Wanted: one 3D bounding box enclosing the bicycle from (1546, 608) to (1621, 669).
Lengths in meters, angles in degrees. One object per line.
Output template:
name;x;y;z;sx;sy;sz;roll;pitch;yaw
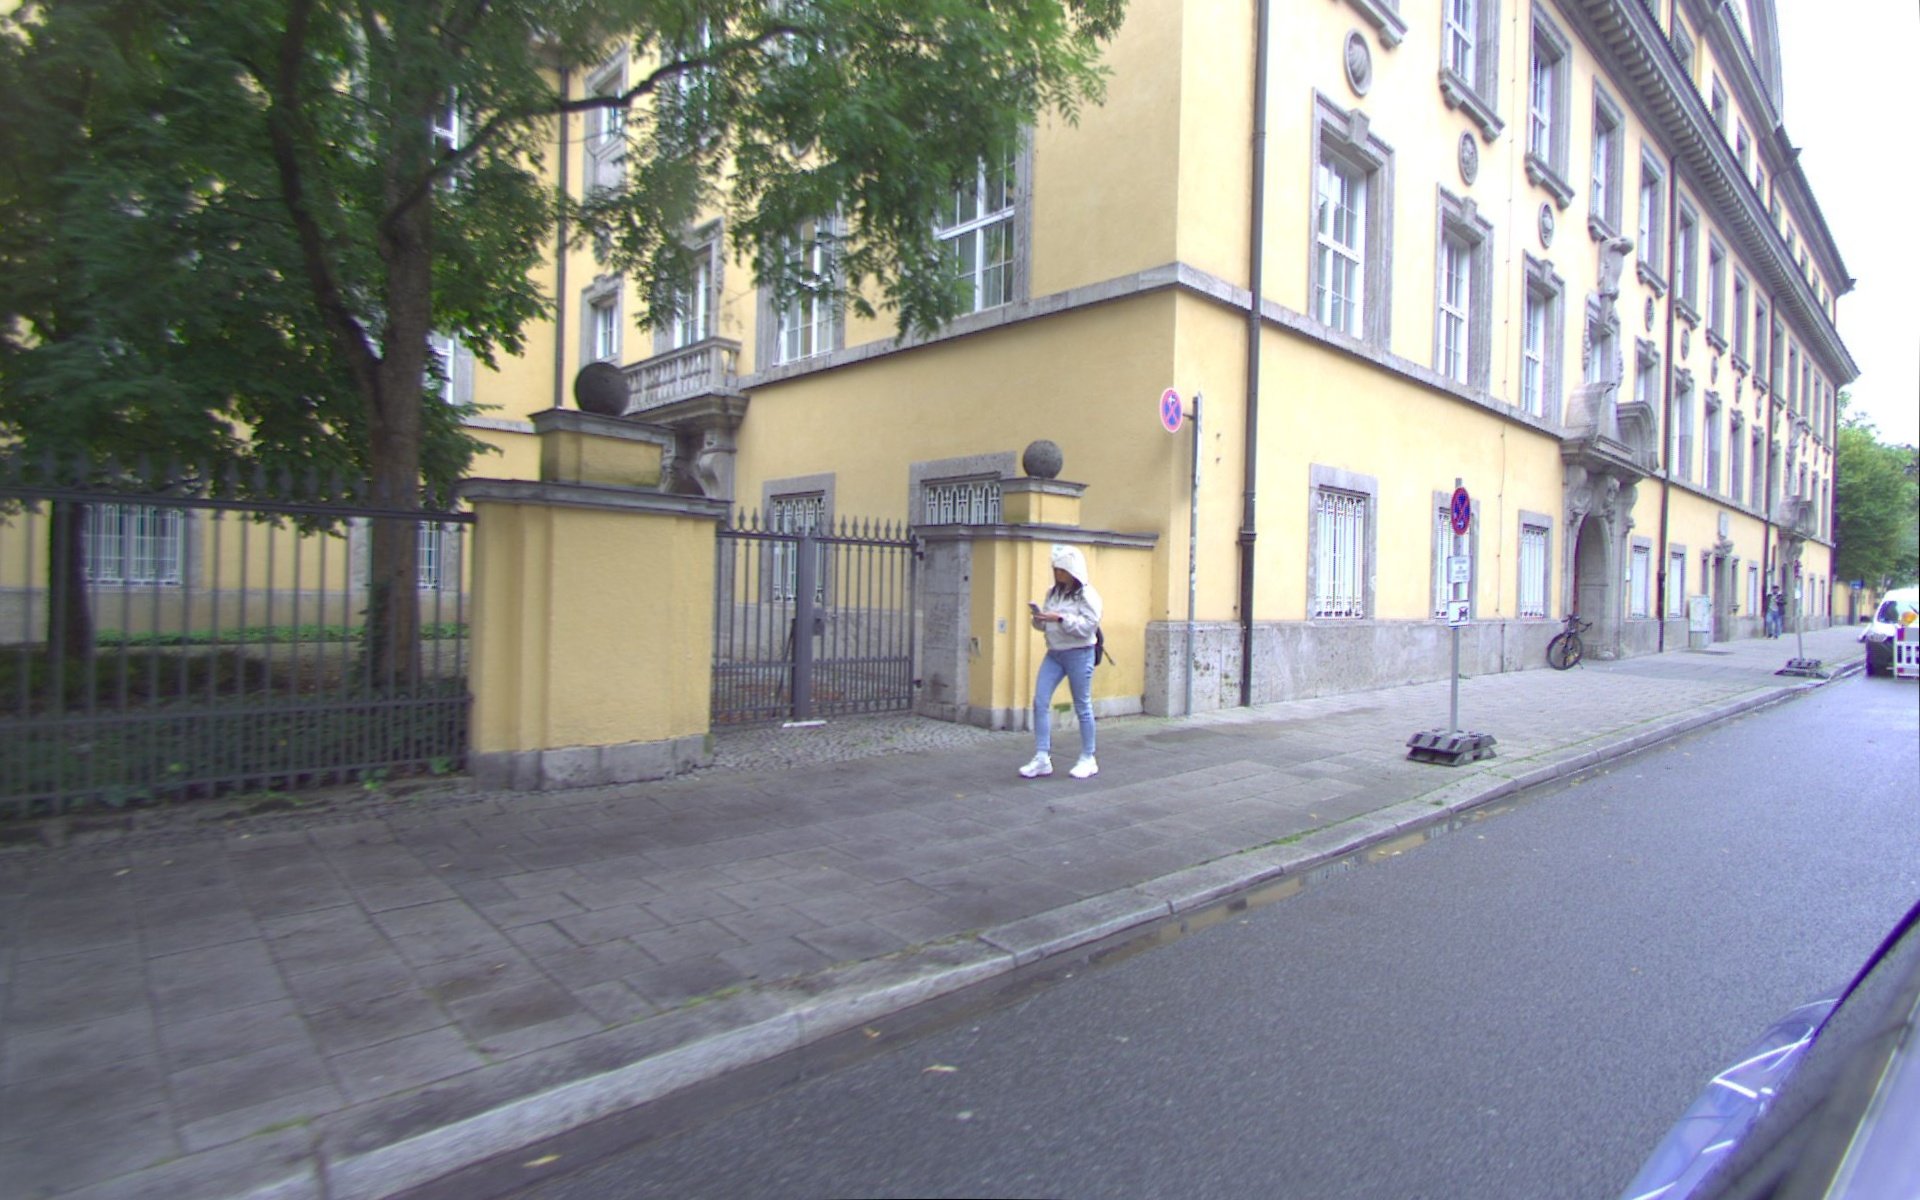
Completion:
bicycle;11.621;0.693;18.841;2.023;1.019;0.681;-1;2;-44

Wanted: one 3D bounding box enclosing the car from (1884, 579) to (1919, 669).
car;20.789;0.463;21.309;4.285;1.771;1.741;-1;2;-45

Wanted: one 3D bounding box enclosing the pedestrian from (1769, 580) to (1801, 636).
pedestrian;27.602;0.261;33.859;0.573;1.826;0.701;-1;3;-44

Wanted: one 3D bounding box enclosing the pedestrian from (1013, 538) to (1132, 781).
pedestrian;0.811;0.397;7.328;0.562;1.658;0.561;0;3;-43
